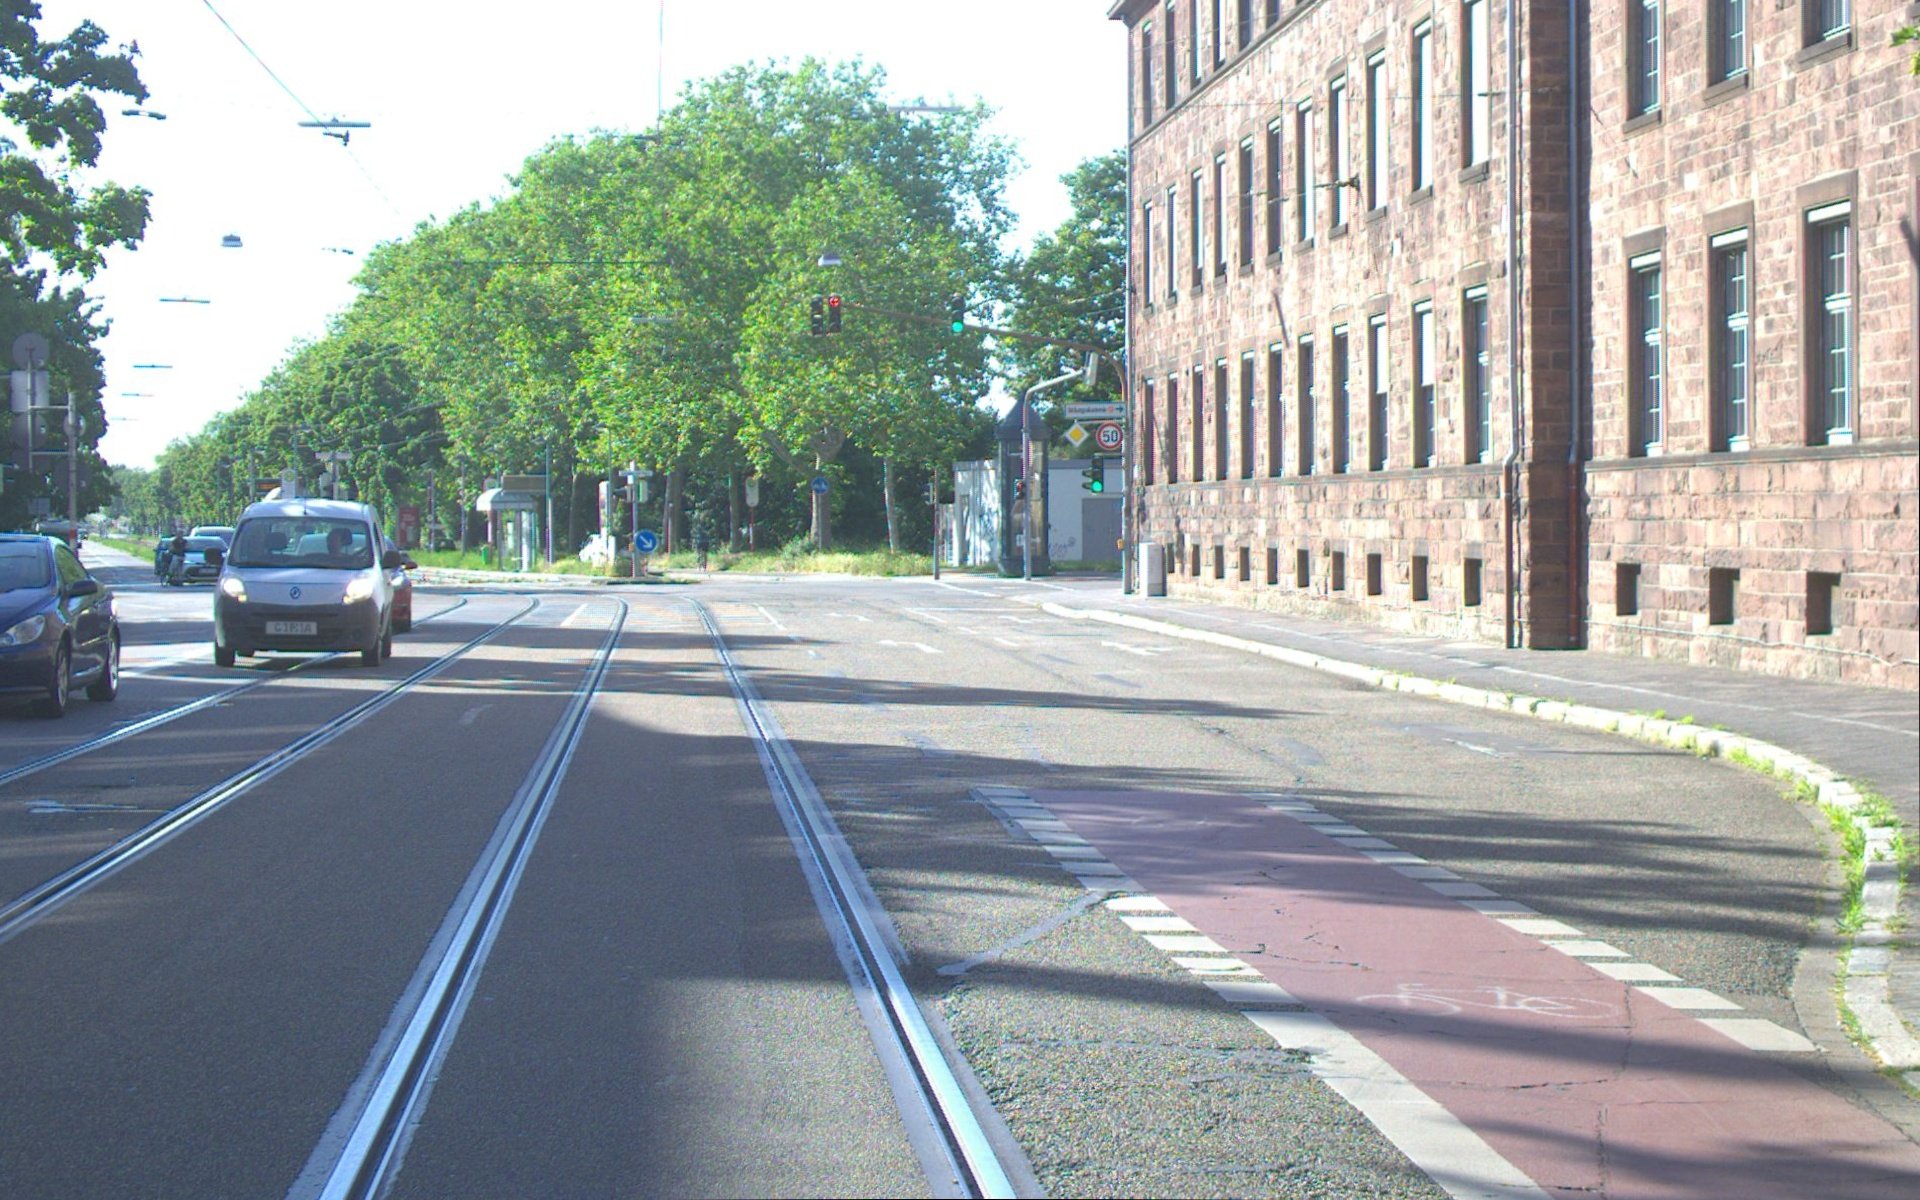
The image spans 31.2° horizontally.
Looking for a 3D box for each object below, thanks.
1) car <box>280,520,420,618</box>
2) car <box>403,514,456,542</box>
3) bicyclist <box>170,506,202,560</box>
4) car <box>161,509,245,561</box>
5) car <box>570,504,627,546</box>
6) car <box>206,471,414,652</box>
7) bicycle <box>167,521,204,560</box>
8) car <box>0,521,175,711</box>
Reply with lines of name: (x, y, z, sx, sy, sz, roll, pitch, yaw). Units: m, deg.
car: (-9.130, -0.504, 51.753, 1.920, 1.382, 4.688, 0, 2, -8)
car: (-30.282, -4.119, 196.222, 1.942, 1.605, 4.001, -1, 2, -25)
bicyclist: (-21.758, -1.878, 96.611, 0.749, 1.499, 0.964, -1, 1, -20)
car: (-22.157, -1.913, 100.588, 1.993, 1.499, 4.001, -1, 2, -18)
car: (-14.291, -2.980, 135.811, 1.942, 1.605, 4.001, 0, 2, -10)
car: (-7.156, -0.462, 38.213, 1.809, 1.882, 4.441, 0, 2, -5)
bicycle: (-21.780, -1.675, 96.654, 0.749, 1.083, 2.178, -1, 2, -20)
car: (-7.700, 0.072, 27.636, 1.809, 1.382, 4.441, 0, 2, -1)
